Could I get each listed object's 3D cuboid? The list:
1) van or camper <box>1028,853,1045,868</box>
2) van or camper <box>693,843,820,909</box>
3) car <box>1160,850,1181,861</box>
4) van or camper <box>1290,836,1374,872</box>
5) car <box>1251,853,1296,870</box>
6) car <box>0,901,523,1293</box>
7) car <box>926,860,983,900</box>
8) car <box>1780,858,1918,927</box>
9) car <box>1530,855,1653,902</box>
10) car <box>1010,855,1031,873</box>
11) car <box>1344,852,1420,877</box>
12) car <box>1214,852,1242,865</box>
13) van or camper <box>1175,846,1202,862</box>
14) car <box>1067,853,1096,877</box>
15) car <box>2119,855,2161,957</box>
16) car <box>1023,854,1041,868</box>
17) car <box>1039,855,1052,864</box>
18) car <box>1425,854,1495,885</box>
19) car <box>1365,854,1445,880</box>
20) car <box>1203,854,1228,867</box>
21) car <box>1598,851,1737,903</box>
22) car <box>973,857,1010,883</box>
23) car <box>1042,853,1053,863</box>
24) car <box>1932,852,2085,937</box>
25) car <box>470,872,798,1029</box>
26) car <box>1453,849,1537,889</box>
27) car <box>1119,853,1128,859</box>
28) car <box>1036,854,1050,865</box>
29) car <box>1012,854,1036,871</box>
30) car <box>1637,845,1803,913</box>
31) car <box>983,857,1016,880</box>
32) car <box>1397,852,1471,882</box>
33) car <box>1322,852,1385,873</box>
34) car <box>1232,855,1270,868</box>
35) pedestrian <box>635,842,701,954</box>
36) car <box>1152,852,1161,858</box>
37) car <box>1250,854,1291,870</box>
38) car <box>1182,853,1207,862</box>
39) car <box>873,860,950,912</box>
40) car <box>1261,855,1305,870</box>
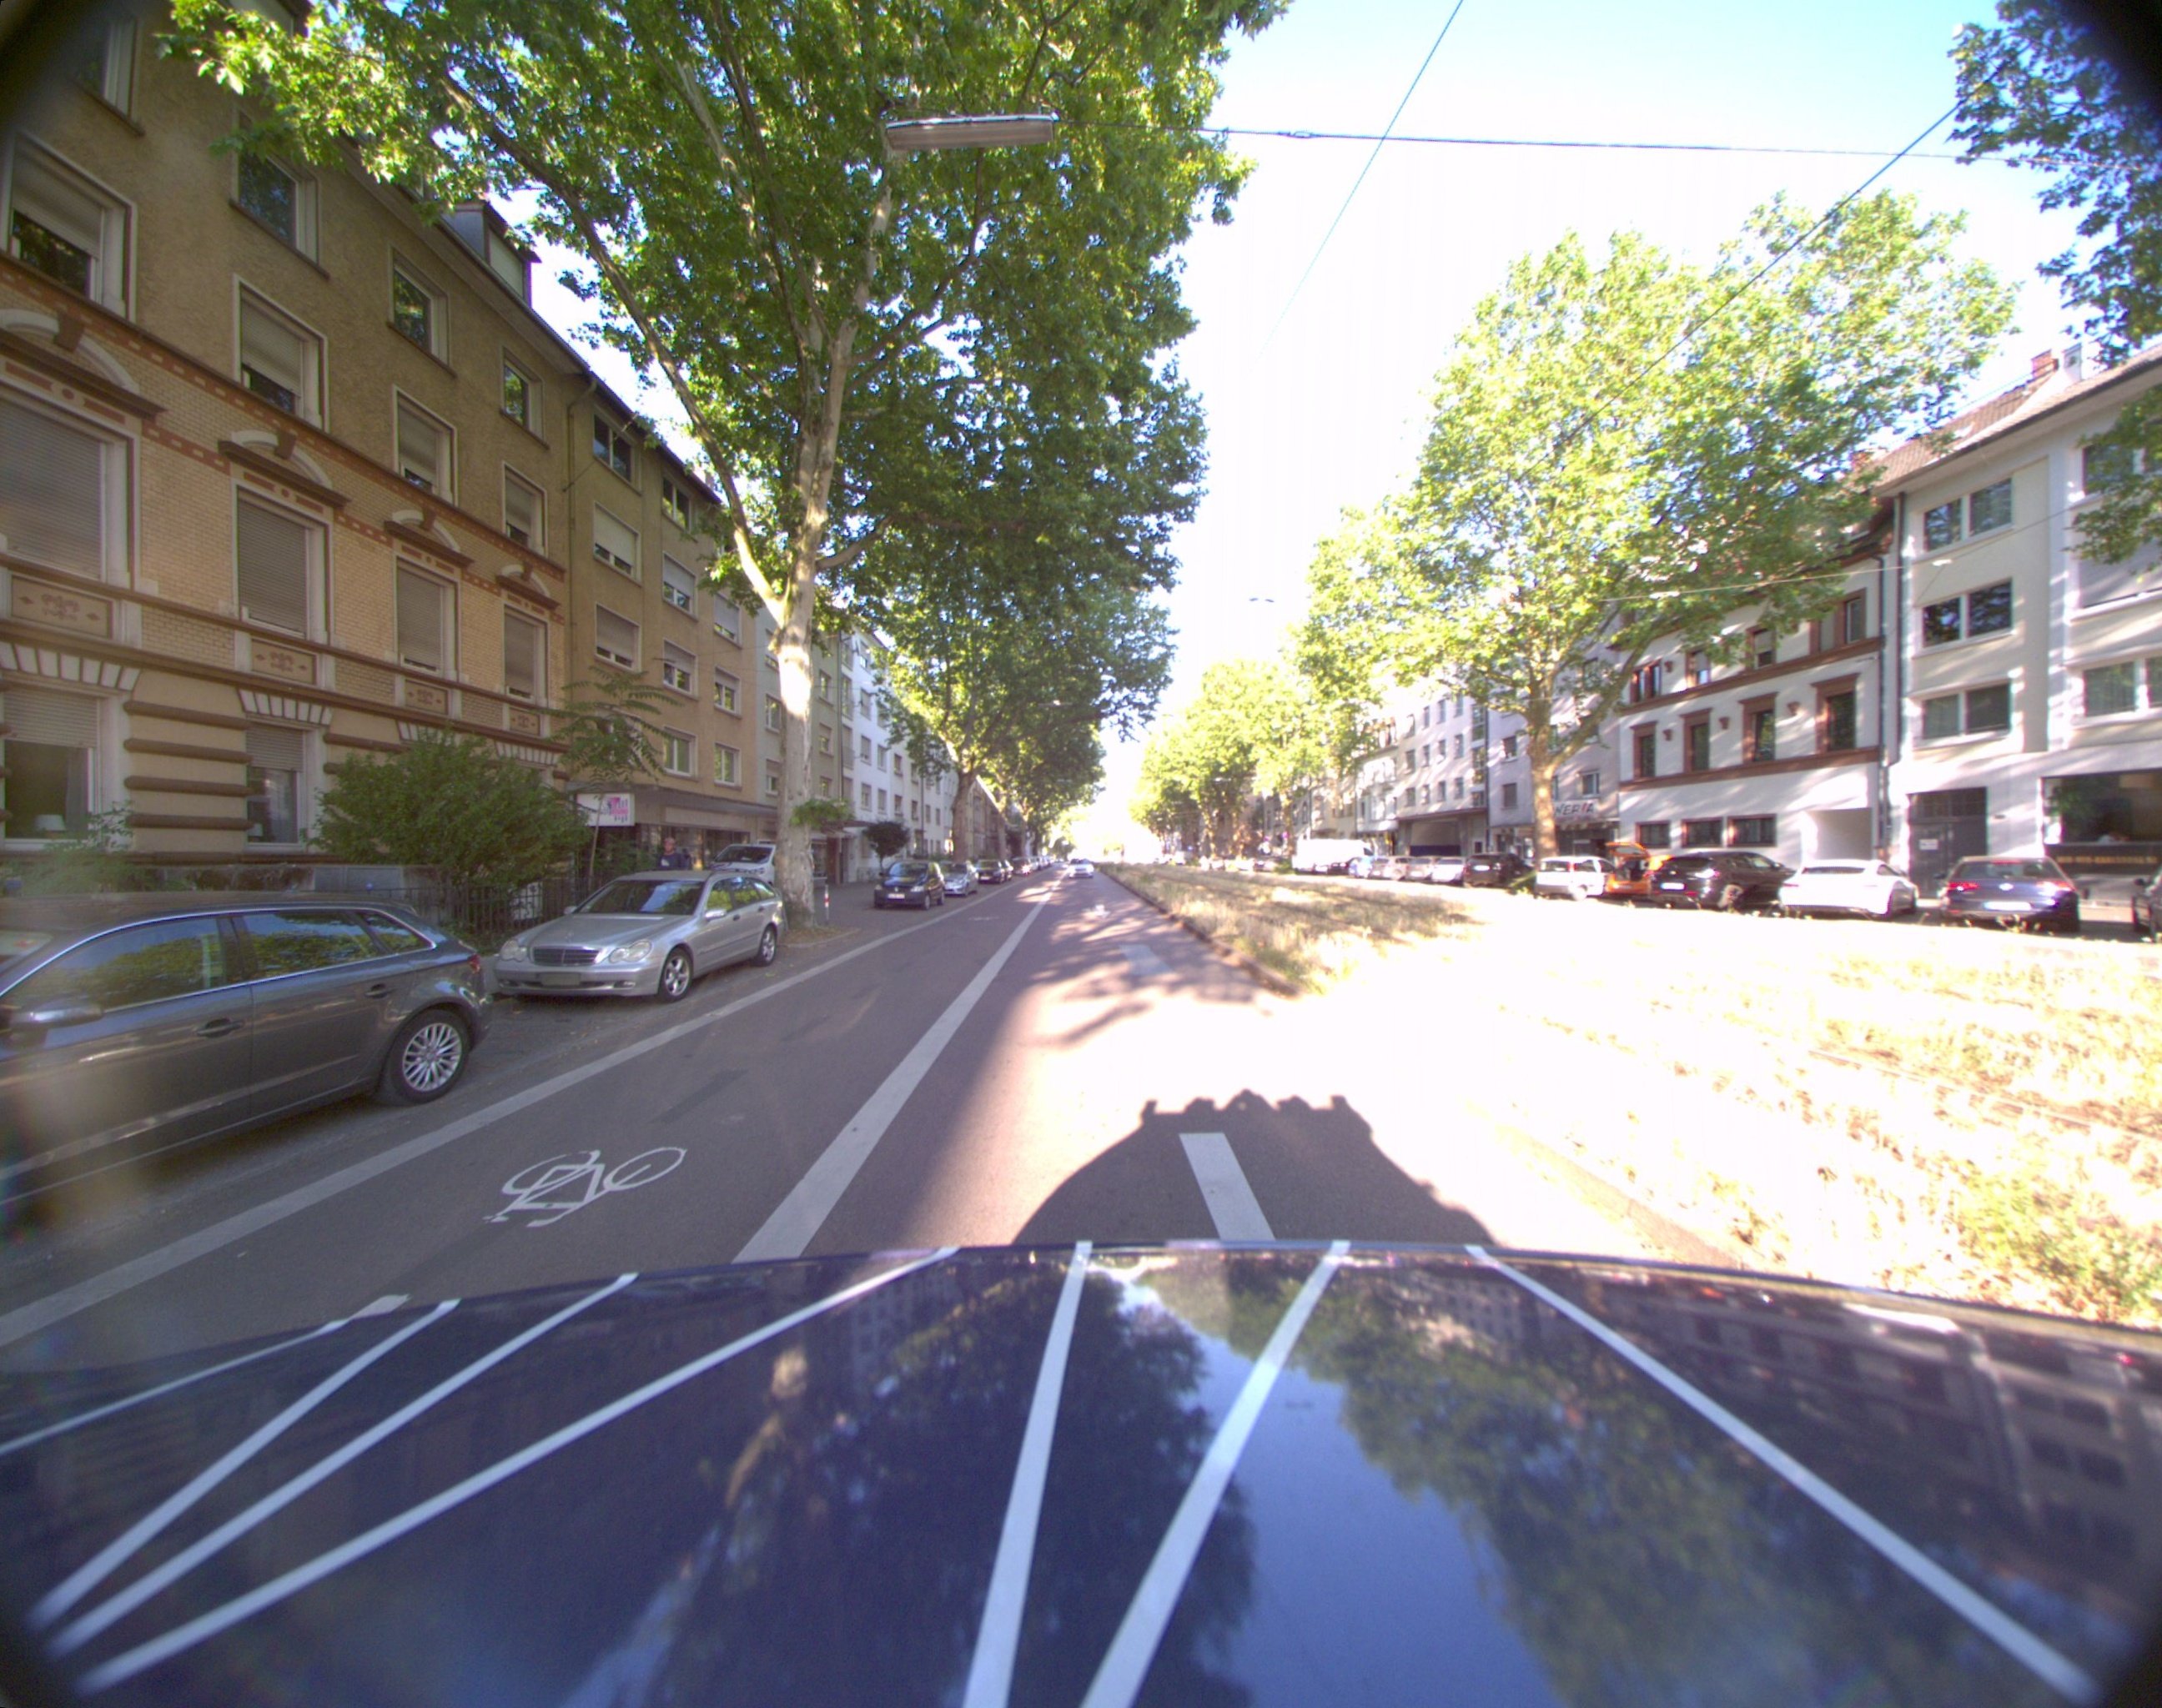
[{"bbox_3d":[-5.409,0.762,92.708,1.790,1.710,4.379,1,0,1],"label":"van or camper"},{"bbox_3d":[-10.432,0.642,24.959,1.947,1.911,5.390,0,0,-1],"label":"van or camper"},{"bbox_3d":[18.316,0.374,154.814,4.007,2.002,1.995,-3,1,-42],"label":"car"},{"bbox_3d":[18.984,0.005,57.458,5.974,2.631,2.175,-1,0,-20],"label":"van or camper"},{"bbox_3d":[18.648,0.714,73.554,4.169,1.583,1.932,2,-1,-36],"label":"car"},{"bbox_3d":[-5.176,1.065,3.664,1.714,1.388,4.321,0,0,1],"label":"car"},{"bbox_3d":[-5.306,1.053,32.481,1.699,1.533,4.776,0,0,-1],"label":"car"},{"bbox_3d":[18.656,0.854,18.409,4.212,1.325,1.718,-3,1,-36],"label":"car"},{"bbox_3d":[18.043,0.809,26.819,4.369,1.440,1.655,-2,1,-26],"label":"car"},{"bbox_3d":[-5.279,0.857,66.491,1.748,1.455,4.024,-1,0,-5],"label":"car"},{"bbox_3d":[18.968,0.652,48.003,3.998,1.412,1.857,-3,1,-4],"label":"car"},{"bbox_3d":[18.833,0.629,97.413,1.726,1.643,4.009,-1,-1,40],"label":"car"},{"bbox_3d":[18.362,0.020,129.726,4.371,2.386,2.196,-4,2,-40],"label":"van or camper"},{"bbox_3d":[0.035,0.744,53.584,1.893,1.501,4.000,-3,1,1],"label":"car"},{"bbox_3d":[19.061,0.812,12.691,4.007,1.433,1.717,-3,1,-41],"label":"car"},{"bbox_3d":[-5.544,0.791,86.409,1.702,1.517,4.194,0,0,0],"label":"car"},{"bbox_3d":[-5.610,0.830,119.804,1.790,1.458,3.569,1,0,0],"label":"car"},{"bbox_3d":[18.939,0.740,37.900,4.008,1.377,1.907,-2,0,-45],"label":"car"},{"bbox_3d":[19.176,0.755,45.088,4.002,1.483,1.948,0,0,-13],"label":"car"},{"bbox_3d":[15.044,0.682,85.166,1.825,1.382,4.483,2,0,-1],"label":"car"},{"bbox_3d":[19.503,0.730,25.269,4.003,1.471,1.774,-3,1,-20],"label":"car"},{"bbox_3d":[-5.313,0.918,45.680,1.713,1.407,4.363,2,0,0],"label":"car"},{"bbox_3d":[-5.597,0.705,127.094,1.791,1.585,4.013,1,0,-2],"label":"car"},{"bbox_3d":[19.366,0.770,16.032,4.007,1.433,1.797,-3,1,-43],"label":"car"},{"bbox_3d":[-5.338,1.022,9.931,1.678,1.443,4.570,0,0,-2],"label":"car"},{"bbox_3d":[18.690,0.656,34.239,4.008,1.651,1.995,-1,0,-41],"label":"car"},{"bbox_3d":[11.504,0.581,205.462,1.997,1.477,4.002,-2,1,8],"label":"car"},{"bbox_3d":[-5.484,0.783,109.731,1.790,1.609,3.829,1,0,0],"label":"car"},{"bbox_3d":[-5.481,0.808,73.266,1.999,1.557,4.663,2,1,0],"label":"car"},{"bbox_3d":[18.302,0.683,21.758,4.370,1.776,1.989,1,1,-26],"label":"car"},{"bbox_3d":[-5.399,0.926,50.570,1.713,1.407,4.363,2,0,0],"label":"car"},{"bbox_3d":[19.067,0.690,40.958,4.006,1.414,1.752,-3,1,-34],"label":"car"},{"bbox_3d":[19.709,0.581,54.949,4.004,1.482,1.996,0,0,-22],"label":"car"},{"bbox_3d":[18.212,0.779,81.438,3.687,1.382,1.822,-1,0,-31],"label":"car"},{"bbox_3d":[-7.661,0.787,14.126,0.684,2.002,1.011,0,1,-3],"label":"pedestrian"},{"bbox_3d":[20.187,0.320,202.883,1.998,1.412,4.000,-2,1,2],"label":"car"},{"bbox_3d":[19.222,0.800,76.934,4.008,1.524,1.821,1,-1,-36],"label":"car"},{"bbox_3d":[18.976,0.583,127.203,4.006,1.240,1.726,-4,1,-34],"label":"car"},{"bbox_3d":[-5.422,0.968,24.725,1.658,1.536,3.999,0,0,-1],"label":"car"},{"bbox_3d":[18.701,0.811,70.267,4.014,1.349,1.797,1,0,-37],"label":"car"}]
